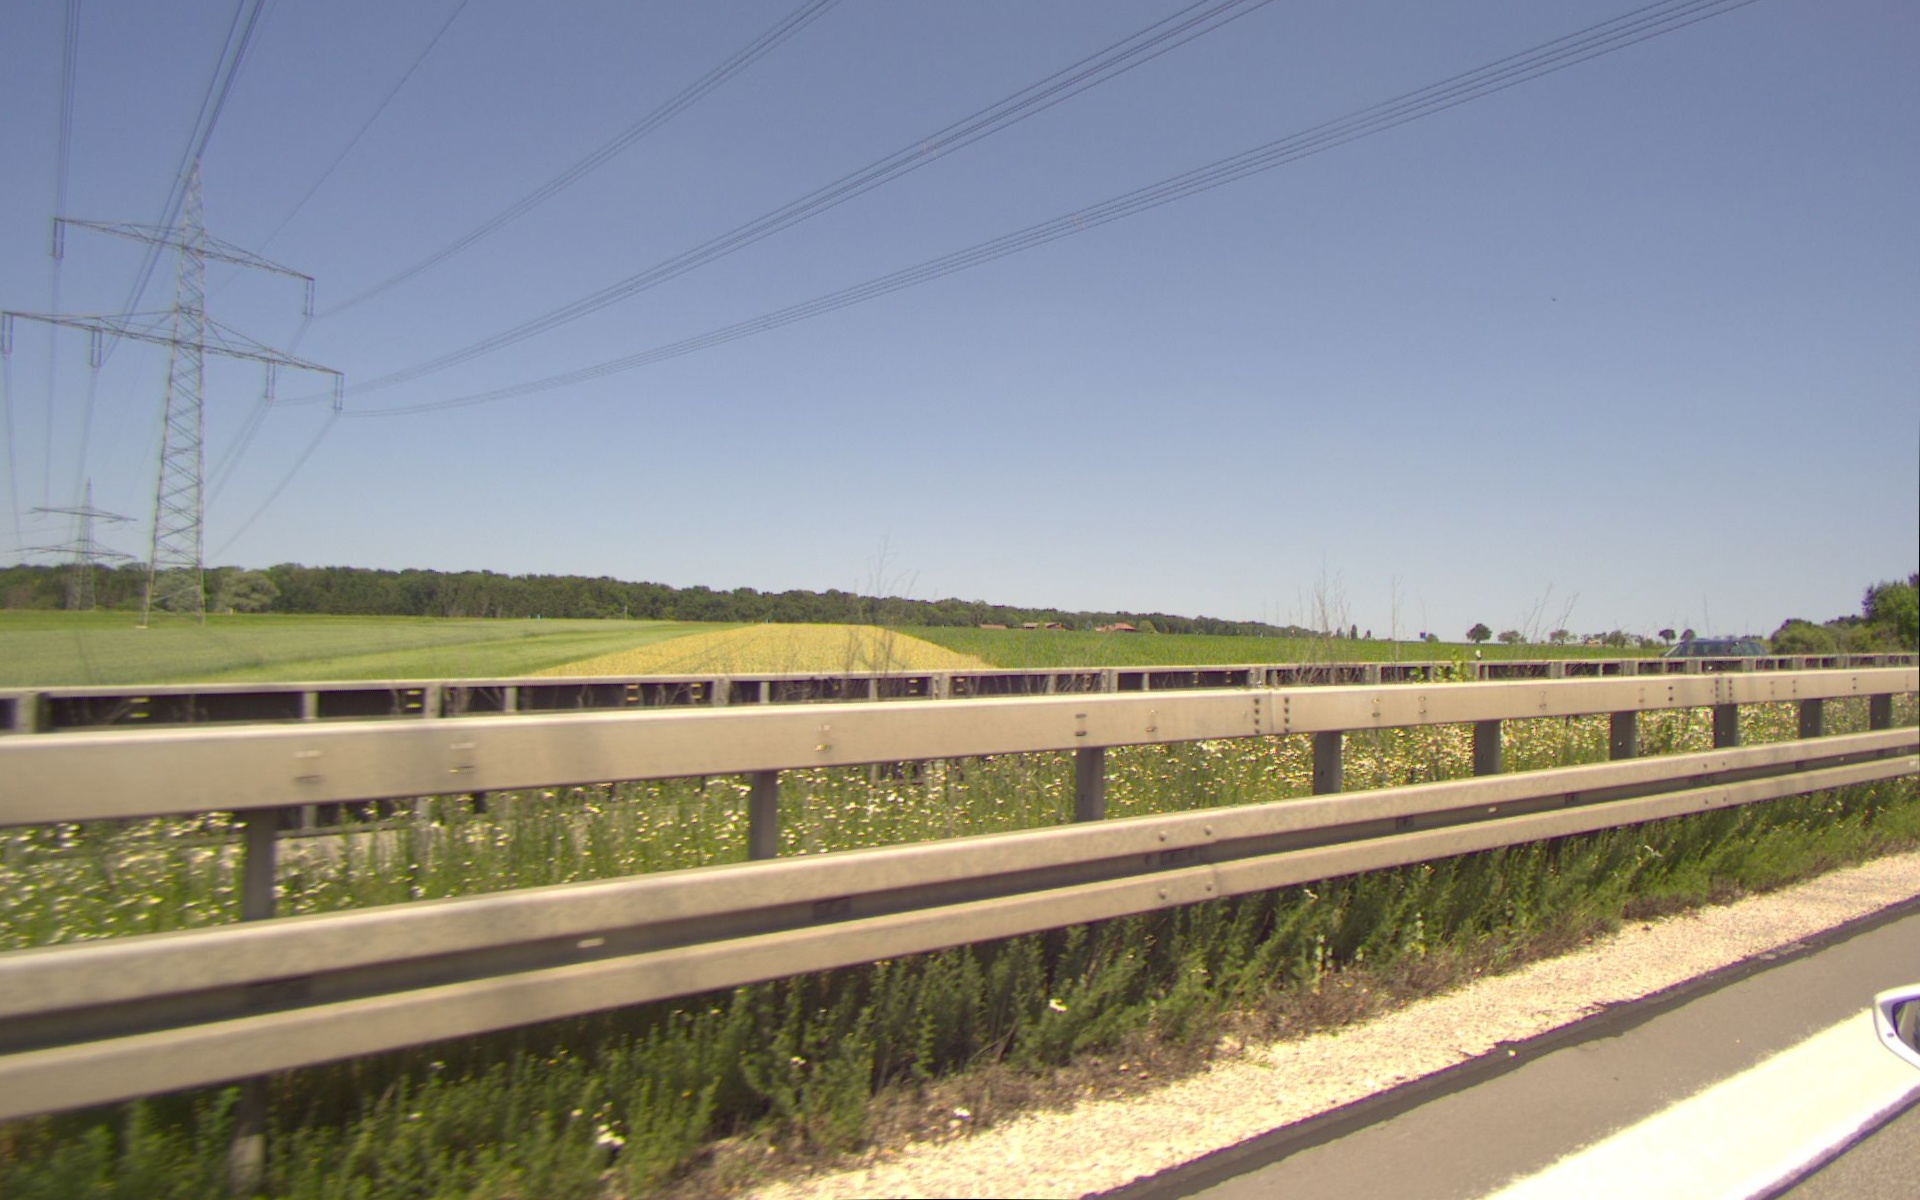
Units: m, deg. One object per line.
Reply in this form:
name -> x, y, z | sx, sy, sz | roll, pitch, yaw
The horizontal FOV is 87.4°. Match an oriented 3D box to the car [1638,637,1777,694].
car -> 20.572, 1.764, 27.612 | 3.955, 1.452, 1.715 | 1, -3, -32
